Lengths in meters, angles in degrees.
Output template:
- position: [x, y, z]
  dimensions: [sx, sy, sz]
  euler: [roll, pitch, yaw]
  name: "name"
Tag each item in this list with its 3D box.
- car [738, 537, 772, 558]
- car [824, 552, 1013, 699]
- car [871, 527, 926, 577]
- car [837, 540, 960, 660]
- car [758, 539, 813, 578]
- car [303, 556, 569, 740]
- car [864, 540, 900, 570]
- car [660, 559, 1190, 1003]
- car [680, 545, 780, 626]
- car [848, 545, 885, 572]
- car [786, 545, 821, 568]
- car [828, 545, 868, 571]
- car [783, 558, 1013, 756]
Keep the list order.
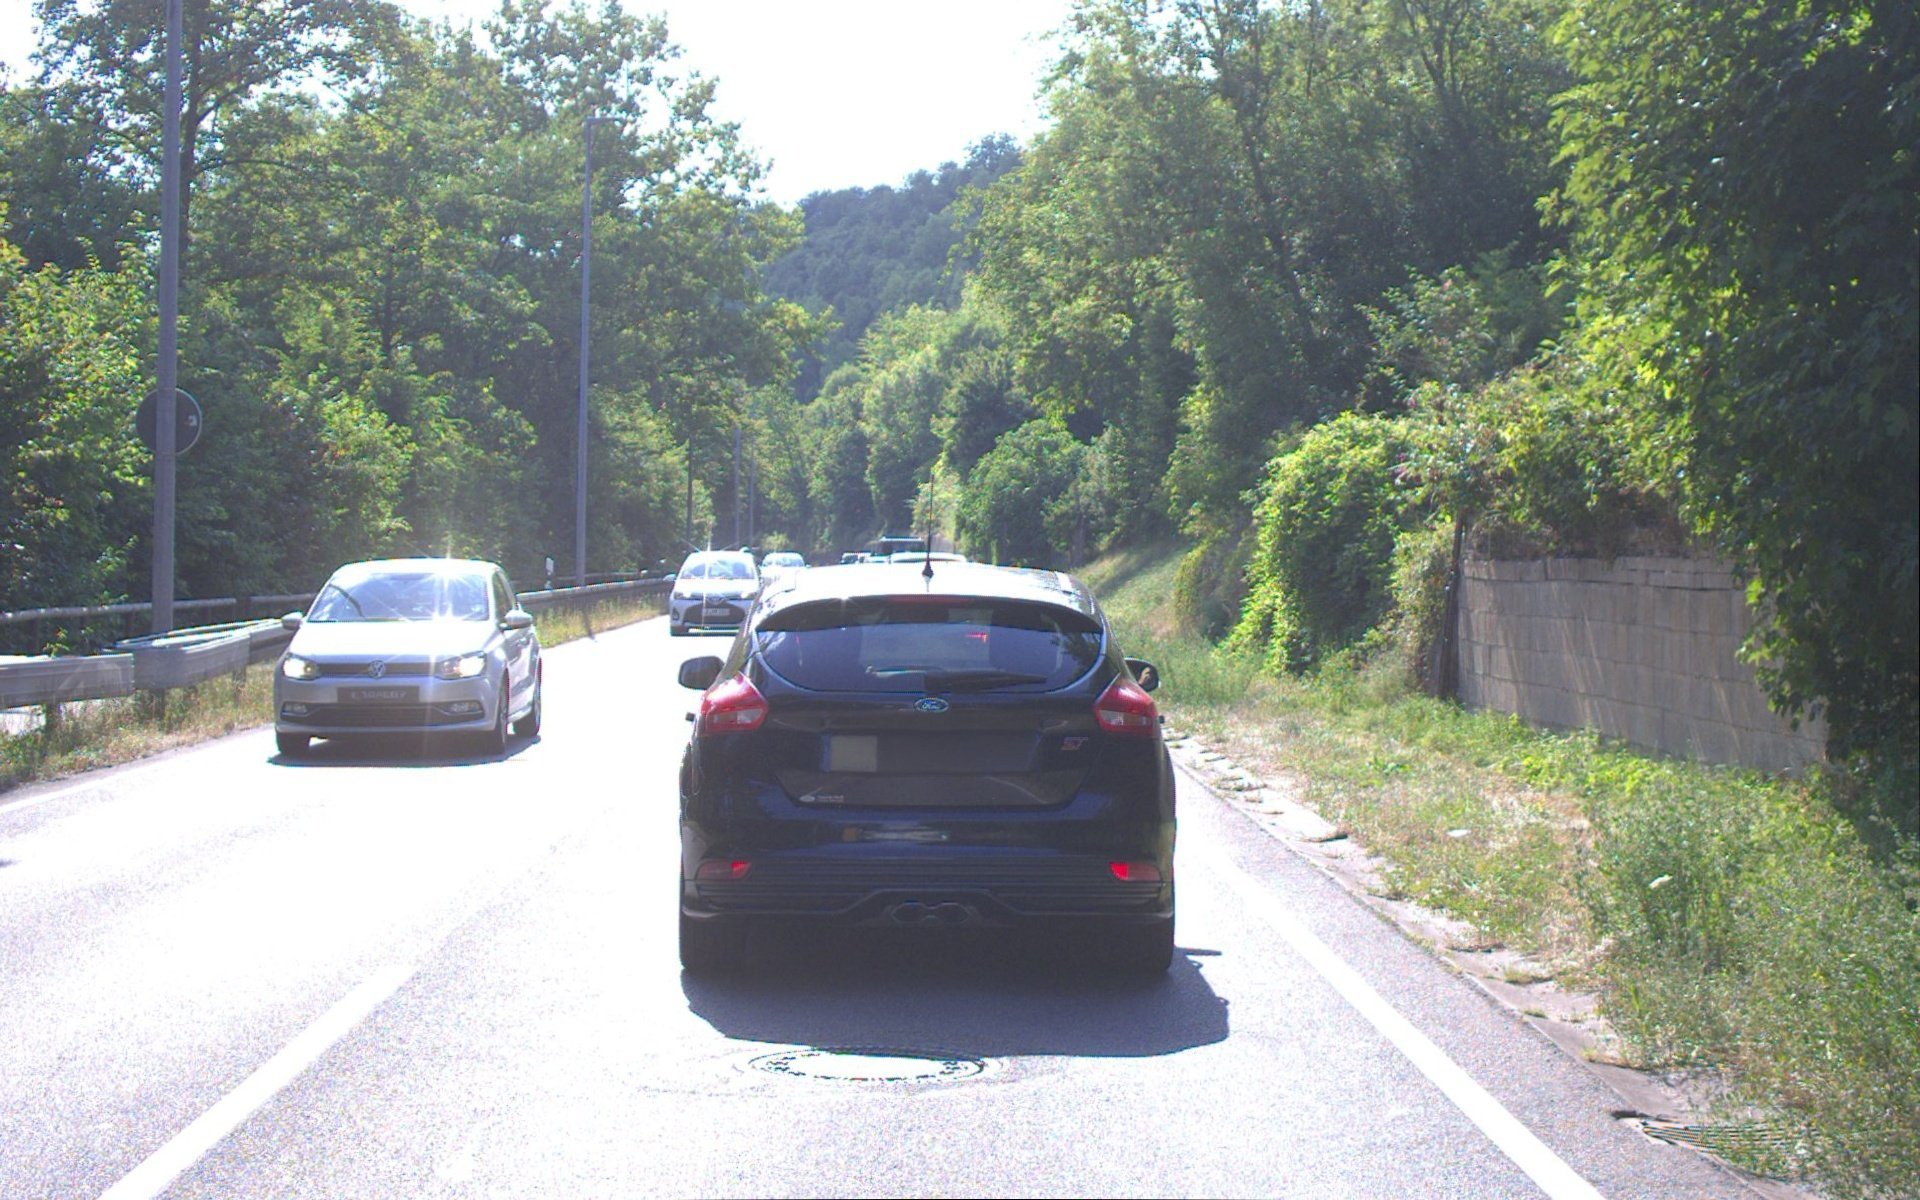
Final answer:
- position: [-15.102, -3.849, 253.133]
  dimensions: [1.993, 1.514, 4.001]
  euler: [0, 1, -12]
  name: "car"
- position: [-0.416, 0.212, 34.844]
  dimensions: [1.804, 1.387, 4.000]
  euler: [0, 1, 0]
  name: "car"
- position: [-2.252, -1.747, 124.869]
  dimensions: [1.863, 1.774, 4.001]
  euler: [0, 1, -3]
  name: "car"
- position: [-0.828, -0.033, 47.478]
  dimensions: [1.631, 1.590, 4.000]
  euler: [0, 1, 0]
  name: "car"
- position: [-6.215, -1.486, 122.800]
  dimensions: [1.775, 1.383, 4.000]
  euler: [0, 1, 0]
  name: "car"
- position: [-4.188, 0.337, 27.985]
  dimensions: [1.623, 1.372, 4.048]
  euler: [0, 1, -1]
  name: "car"
- position: [-4.042, -2.335, 178.623]
  dimensions: [1.819, 1.514, 4.000]
  euler: [0, 1, 0]
  name: "car"
- position: [-0.132, 0.576, 13.382]
  dimensions: [1.739, 1.451, 4.000]
  euler: [1, 1, 0]
  name: "car"
- position: [-4.280, -0.294, 64.490]
  dimensions: [1.681, 1.458, 4.198]
  euler: [0, 1, -1]
  name: "car"
- position: [-5.243, -2.342, 192.612]
  dimensions: [1.993, 1.514, 4.000]
  euler: [0, 1, 0]
  name: "car"
- position: [-10.638, -2.969, 233.598]
  dimensions: [1.993, 1.514, 4.001]
  euler: [0, 1, -8]
  name: "car"
- position: [-6.629, -2.496, 203.005]
  dimensions: [1.993, 1.514, 4.001]
  euler: [0, 1, -8]
  name: "car"
- position: [-0.416, 0.389, 26.902]
  dimensions: [1.661, 1.413, 4.000]
  euler: [0, 1, 1]
  name: "car"
